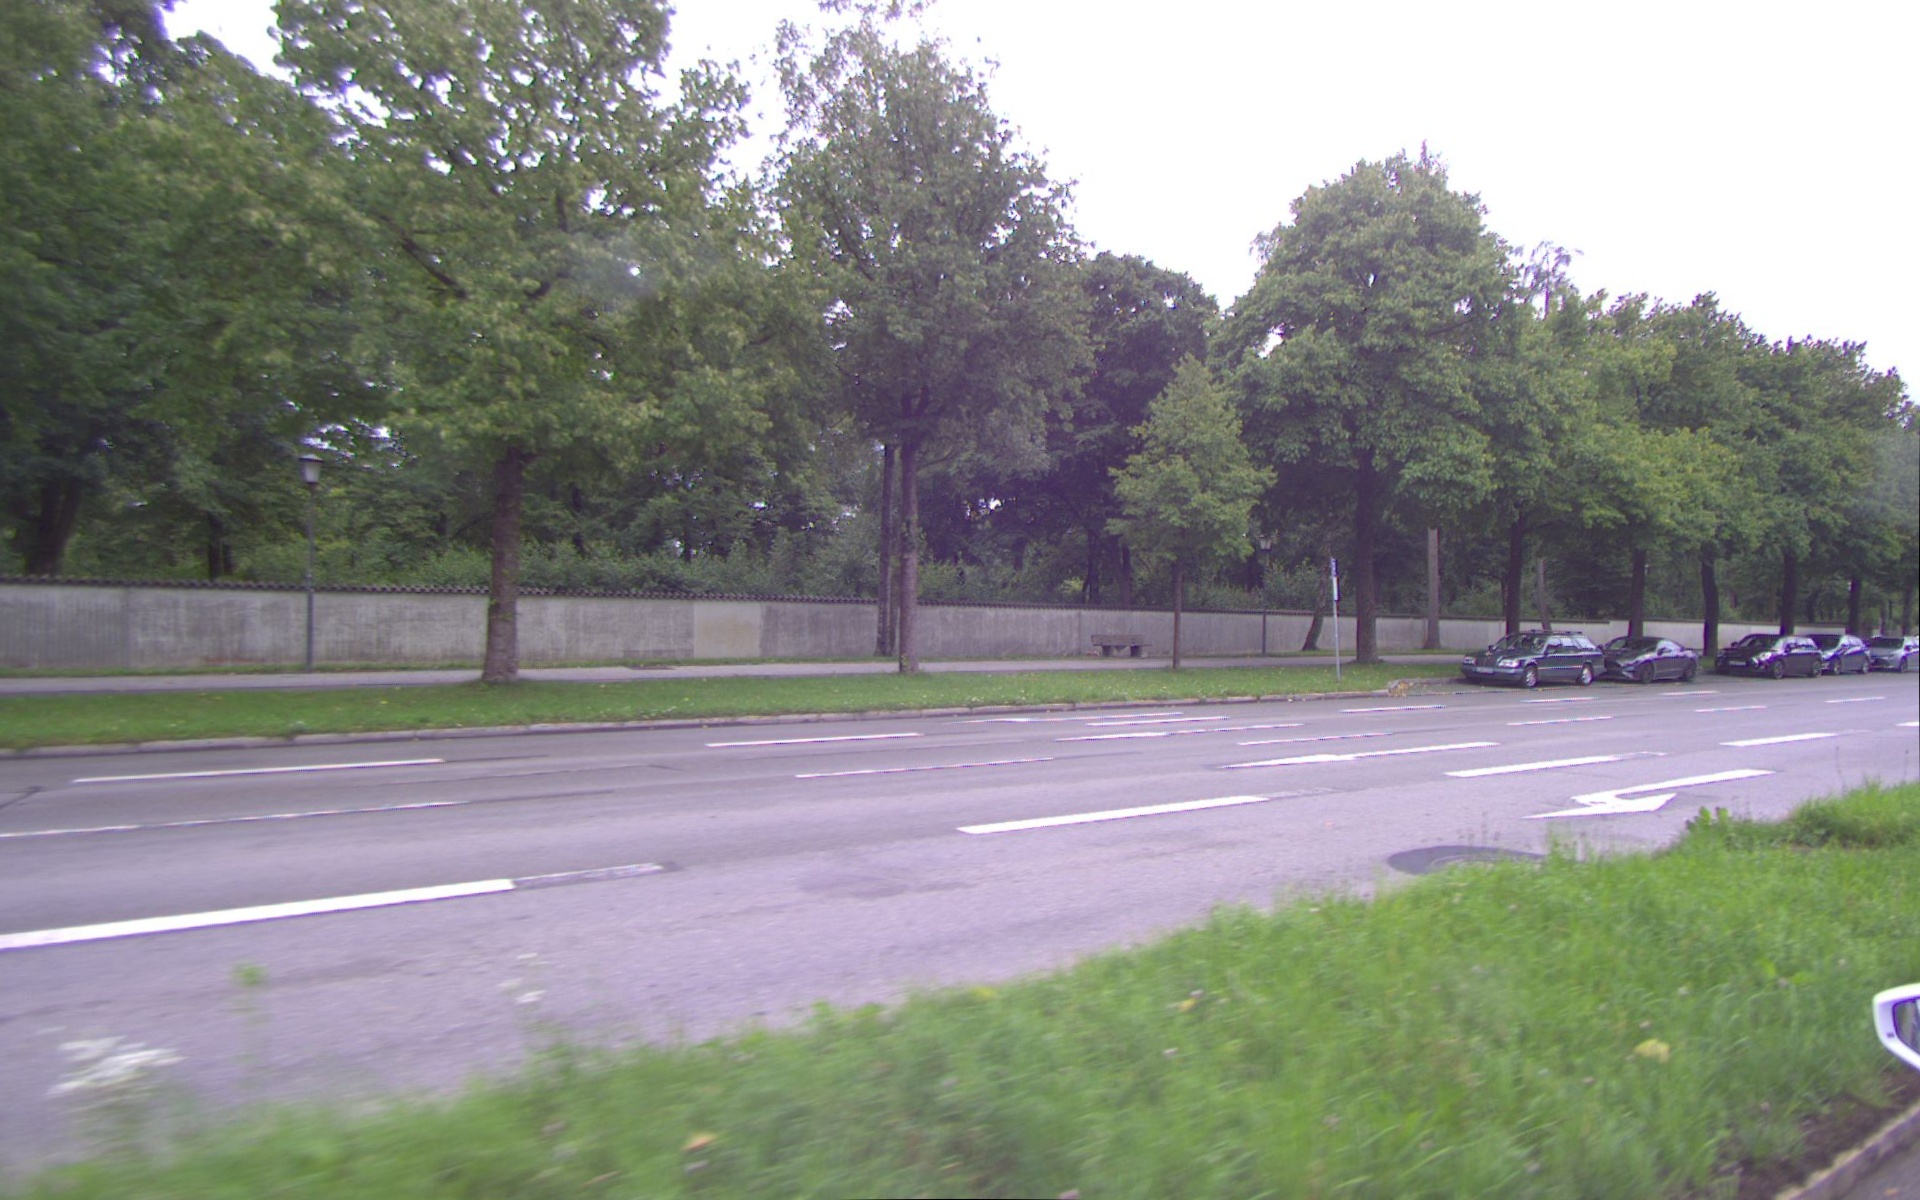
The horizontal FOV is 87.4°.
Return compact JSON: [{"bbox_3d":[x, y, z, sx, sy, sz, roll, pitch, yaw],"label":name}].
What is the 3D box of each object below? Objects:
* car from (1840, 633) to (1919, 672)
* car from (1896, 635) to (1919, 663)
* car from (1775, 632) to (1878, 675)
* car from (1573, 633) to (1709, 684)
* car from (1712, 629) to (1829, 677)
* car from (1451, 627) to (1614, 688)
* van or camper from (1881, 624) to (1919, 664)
[{"bbox_3d":[38.196,2.120,41.214,4.751,1.458,1.628,1,1,-30],"label":"car"},{"bbox_3d":[49.371,2.496,50.146,3.516,1.372,1.750,0,-1,30],"label":"car"},{"bbox_3d":[32.844,1.977,38.037,4.745,1.478,1.578,1,1,-32],"label":"car"},{"bbox_3d":[20.994,1.760,30.912,4.652,1.414,1.651,1,1,-31],"label":"car"},{"bbox_3d":[28.322,1.838,35.084,4.247,1.523,1.565,1,1,-27],"label":"car"},{"bbox_3d":[16.034,1.558,28.084,4.858,1.510,1.790,1,1,-31],"label":"car"},{"bbox_3d":[47.257,2.131,48.233,4.044,1.879,1.850,1,-1,19],"label":"van or camper"}]
